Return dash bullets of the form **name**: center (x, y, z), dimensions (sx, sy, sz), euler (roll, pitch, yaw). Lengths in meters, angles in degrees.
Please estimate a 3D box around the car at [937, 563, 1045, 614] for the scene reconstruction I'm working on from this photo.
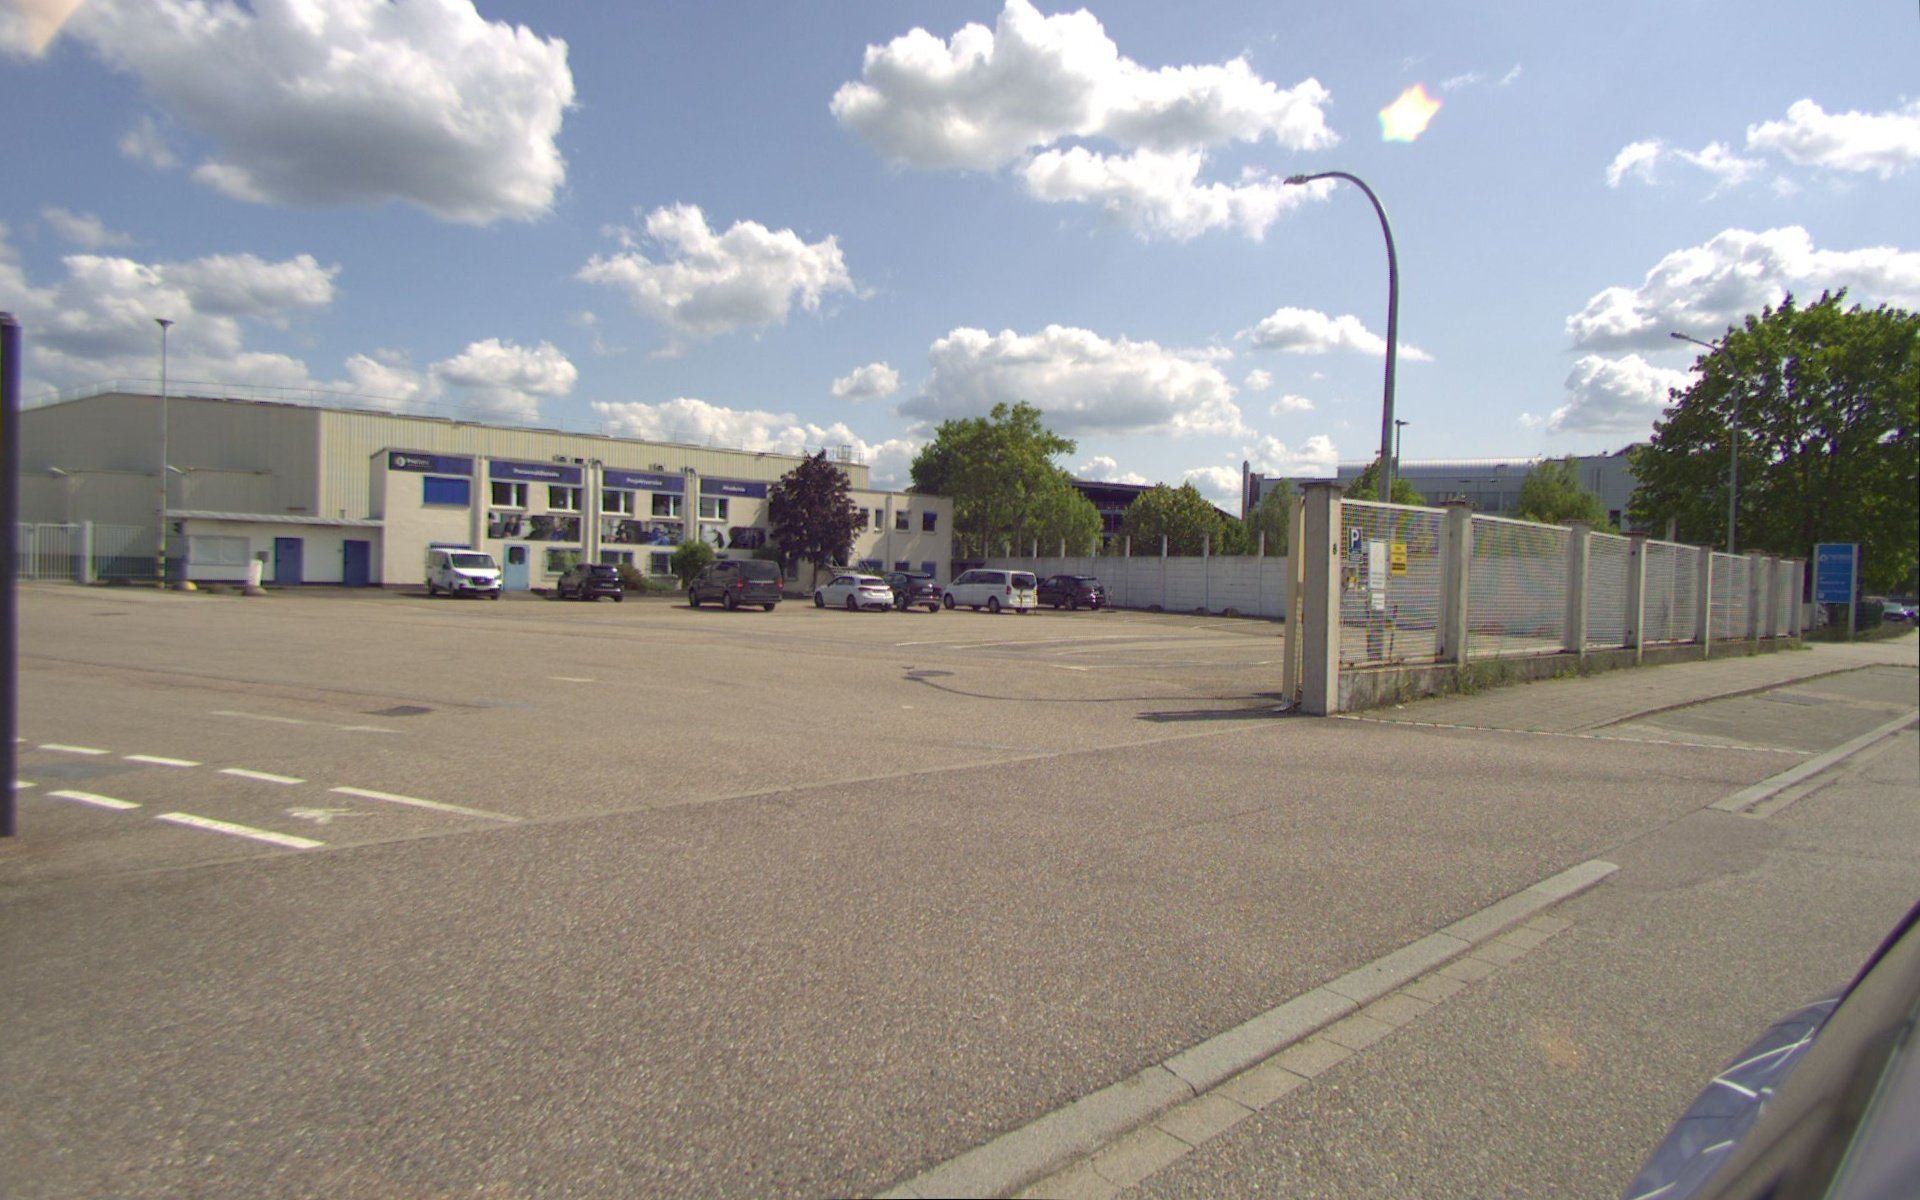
- **car**: center (1.318, -0.584, 45.679), dimensions (1.902, 1.971, 5.064), euler (0, 4, -41)

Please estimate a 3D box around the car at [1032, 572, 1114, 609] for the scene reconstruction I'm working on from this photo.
- **car**: center (5.391, -0.468, 48.833), dimensions (1.879, 1.672, 4.003), euler (0, 1, -31)

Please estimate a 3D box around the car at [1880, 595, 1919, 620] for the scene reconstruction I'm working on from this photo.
- **car**: center (73.410, 0.575, 78.723), dimensions (1.854, 1.703, 4.655), euler (5, 3, 32)

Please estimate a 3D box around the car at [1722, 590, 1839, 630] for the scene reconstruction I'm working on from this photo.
- **car**: center (37.709, 0.402, 46.569), dimensions (1.876, 1.612, 3.884), euler (0, 3, -40)

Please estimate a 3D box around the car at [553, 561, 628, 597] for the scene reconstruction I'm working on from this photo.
- **car**: center (-16.253, -0.898, 44.419), dimensions (1.813, 1.529, 3.993), euler (0, 1, -41)

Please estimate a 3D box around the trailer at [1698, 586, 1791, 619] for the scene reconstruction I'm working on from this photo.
- **trailer**: center (55.296, 0.160, 71.435), dimensions (5.034, 2.108, 2.035), euler (3, 2, 36)

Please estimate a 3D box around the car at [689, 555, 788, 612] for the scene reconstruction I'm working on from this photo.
- **car**: center (-8.440, -0.670, 38.317), dimensions (1.900, 1.876, 4.403), euler (0, 4, -38)

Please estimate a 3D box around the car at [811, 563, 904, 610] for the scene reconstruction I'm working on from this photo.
- **car**: center (-4.205, -0.566, 41.083), dimensions (1.900, 1.659, 3.922), euler (0, 4, -38)

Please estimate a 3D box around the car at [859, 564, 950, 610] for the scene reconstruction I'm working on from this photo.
- **car**: center (-2.368, -0.581, 42.659), dimensions (1.900, 1.659, 3.922), euler (0, 4, -38)

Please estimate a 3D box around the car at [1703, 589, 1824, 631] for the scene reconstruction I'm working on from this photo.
- **car**: center (35.674, 0.395, 44.985), dimensions (1.876, 1.657, 3.884), euler (0, 3, -40)

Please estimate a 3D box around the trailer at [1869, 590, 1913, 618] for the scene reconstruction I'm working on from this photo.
- **trailer**: center (75.711, 0.321, 82.373), dimensions (1.738, 2.092, 3.904), euler (5, 3, 31)

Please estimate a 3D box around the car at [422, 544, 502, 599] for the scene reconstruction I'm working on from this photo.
- **car**: center (-20.895, -1.215, 42.397), dimensions (1.902, 2.057, 4.398), euler (0, 4, -41)

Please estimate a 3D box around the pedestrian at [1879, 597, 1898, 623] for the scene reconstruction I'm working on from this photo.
- **pedestrian**: center (65.883, 0.714, 71.809), dimensions (0.719, 1.713, 0.730), euler (7, 4, 35)
